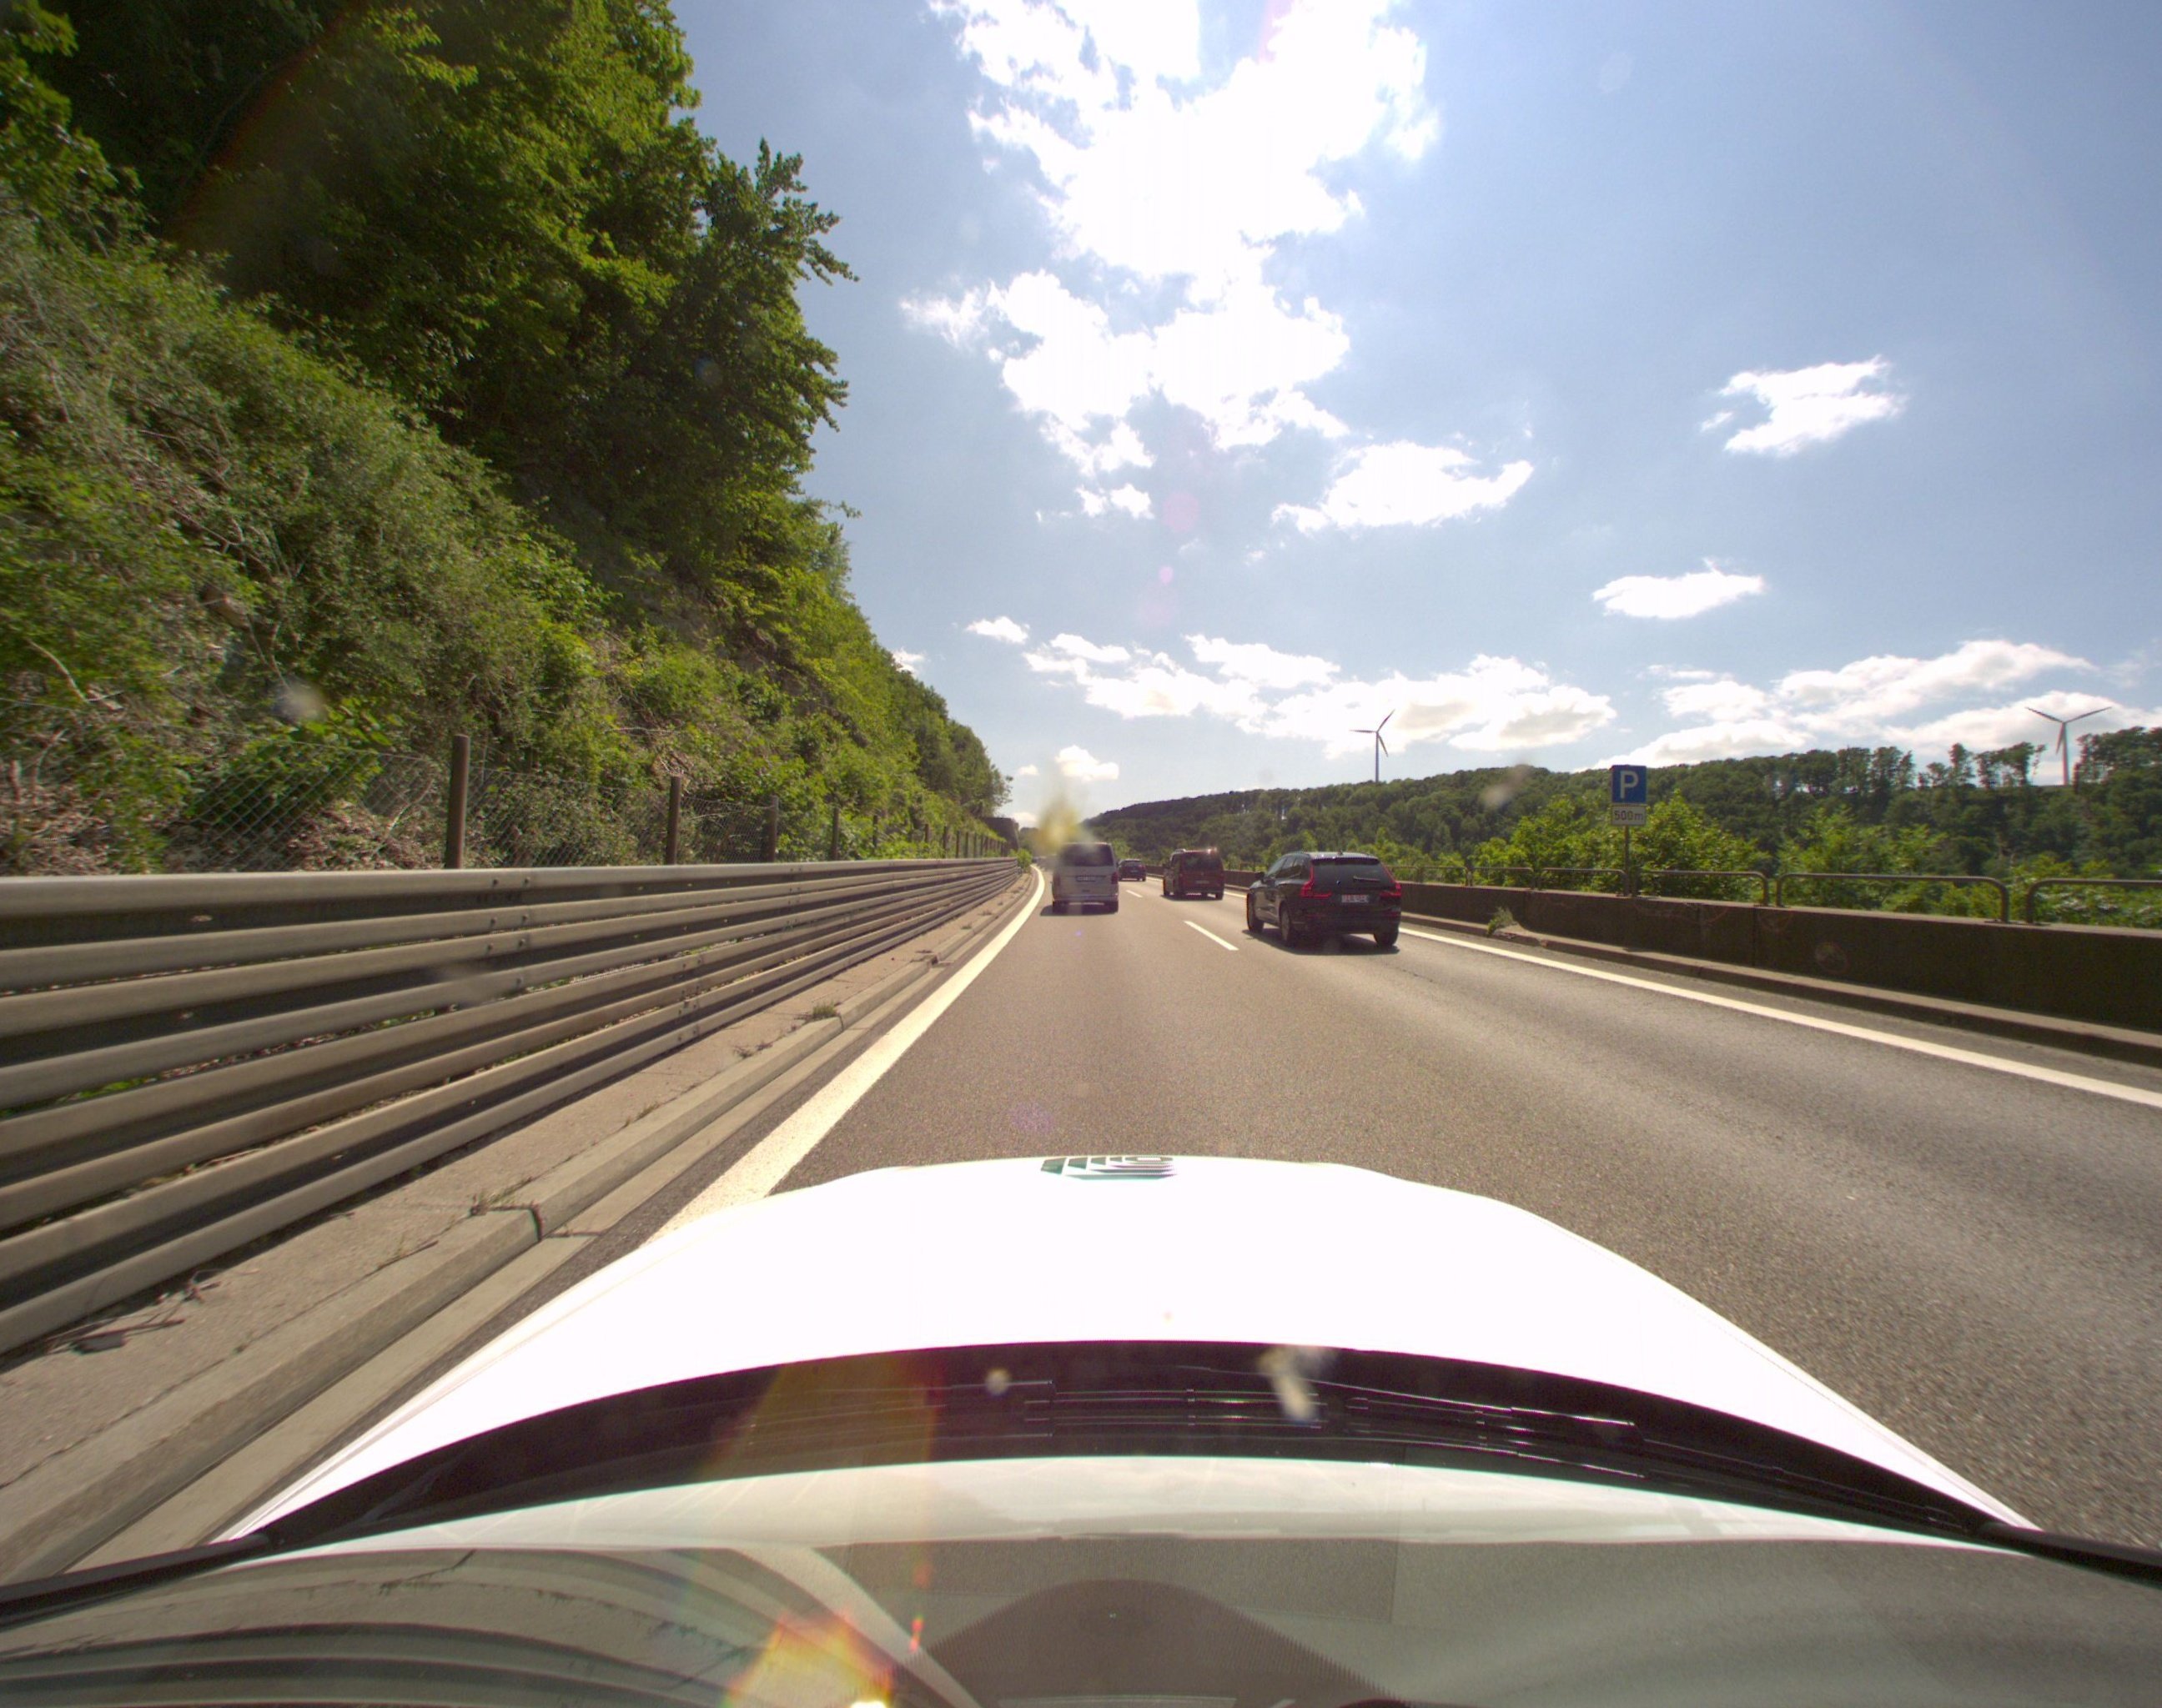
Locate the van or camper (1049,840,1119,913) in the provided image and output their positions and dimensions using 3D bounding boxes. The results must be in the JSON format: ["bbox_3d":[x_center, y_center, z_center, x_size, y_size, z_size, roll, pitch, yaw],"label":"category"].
[{"bbox_3d":[0.073,0.643,24.213,1.870,1.949,4.292,-1,-1,-1],"label":"van or camper"}]

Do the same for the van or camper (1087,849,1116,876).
[{"bbox_3d":[1.965,0.810,80.114,2.260,2.551,4.727,-1,0,-5],"label":"van or camper"}]

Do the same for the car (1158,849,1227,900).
[{"bbox_3d":[4.186,0.759,31.337,1.829,1.784,4.671,-1,-1,-2],"label":"car"}]

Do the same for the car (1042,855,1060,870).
[{"bbox_3d":[-3.827,1.069,102.331,1.991,1.915,3.991,0,0,-6],"label":"car"}]

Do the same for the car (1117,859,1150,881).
[{"bbox_3d":[3.411,1.047,53.642,1.764,1.376,3.589,-1,0,-3],"label":"car"}]

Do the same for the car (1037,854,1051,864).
[{"bbox_3d":[-6.050,0.804,133.791,2.138,1.607,5.071,0,0,-4],"label":"car"}]

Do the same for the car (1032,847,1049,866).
[{"bbox_3d":[-10.559,0.774,212.189,4.035,4.872,10.096,-1,-1,-3],"label":"car"}]

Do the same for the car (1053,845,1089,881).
[{"bbox_3d":[-0.575,0.542,48.847,1.987,2.014,3.999,-1,-1,0],"label":"car"}]

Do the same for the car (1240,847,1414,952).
[{"bbox_3d":[4.344,0.738,15.211,1.829,1.633,4.661,-1,0,0],"label":"car"}]

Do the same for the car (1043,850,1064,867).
[{"bbox_3d":[-2.919,0.491,86.447,1.990,1.818,3.993,0,0,-5],"label":"car"}]

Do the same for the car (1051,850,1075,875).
[{"bbox_3d":[-1.491,0.720,69.945,1.987,2.014,3.998,-1,-1,-1],"label":"car"}]

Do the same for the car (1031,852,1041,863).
[{"bbox_3d":[-8.874,0.695,160.765,1.989,2.014,3.995,-1,-1,-3],"label":"car"}]
